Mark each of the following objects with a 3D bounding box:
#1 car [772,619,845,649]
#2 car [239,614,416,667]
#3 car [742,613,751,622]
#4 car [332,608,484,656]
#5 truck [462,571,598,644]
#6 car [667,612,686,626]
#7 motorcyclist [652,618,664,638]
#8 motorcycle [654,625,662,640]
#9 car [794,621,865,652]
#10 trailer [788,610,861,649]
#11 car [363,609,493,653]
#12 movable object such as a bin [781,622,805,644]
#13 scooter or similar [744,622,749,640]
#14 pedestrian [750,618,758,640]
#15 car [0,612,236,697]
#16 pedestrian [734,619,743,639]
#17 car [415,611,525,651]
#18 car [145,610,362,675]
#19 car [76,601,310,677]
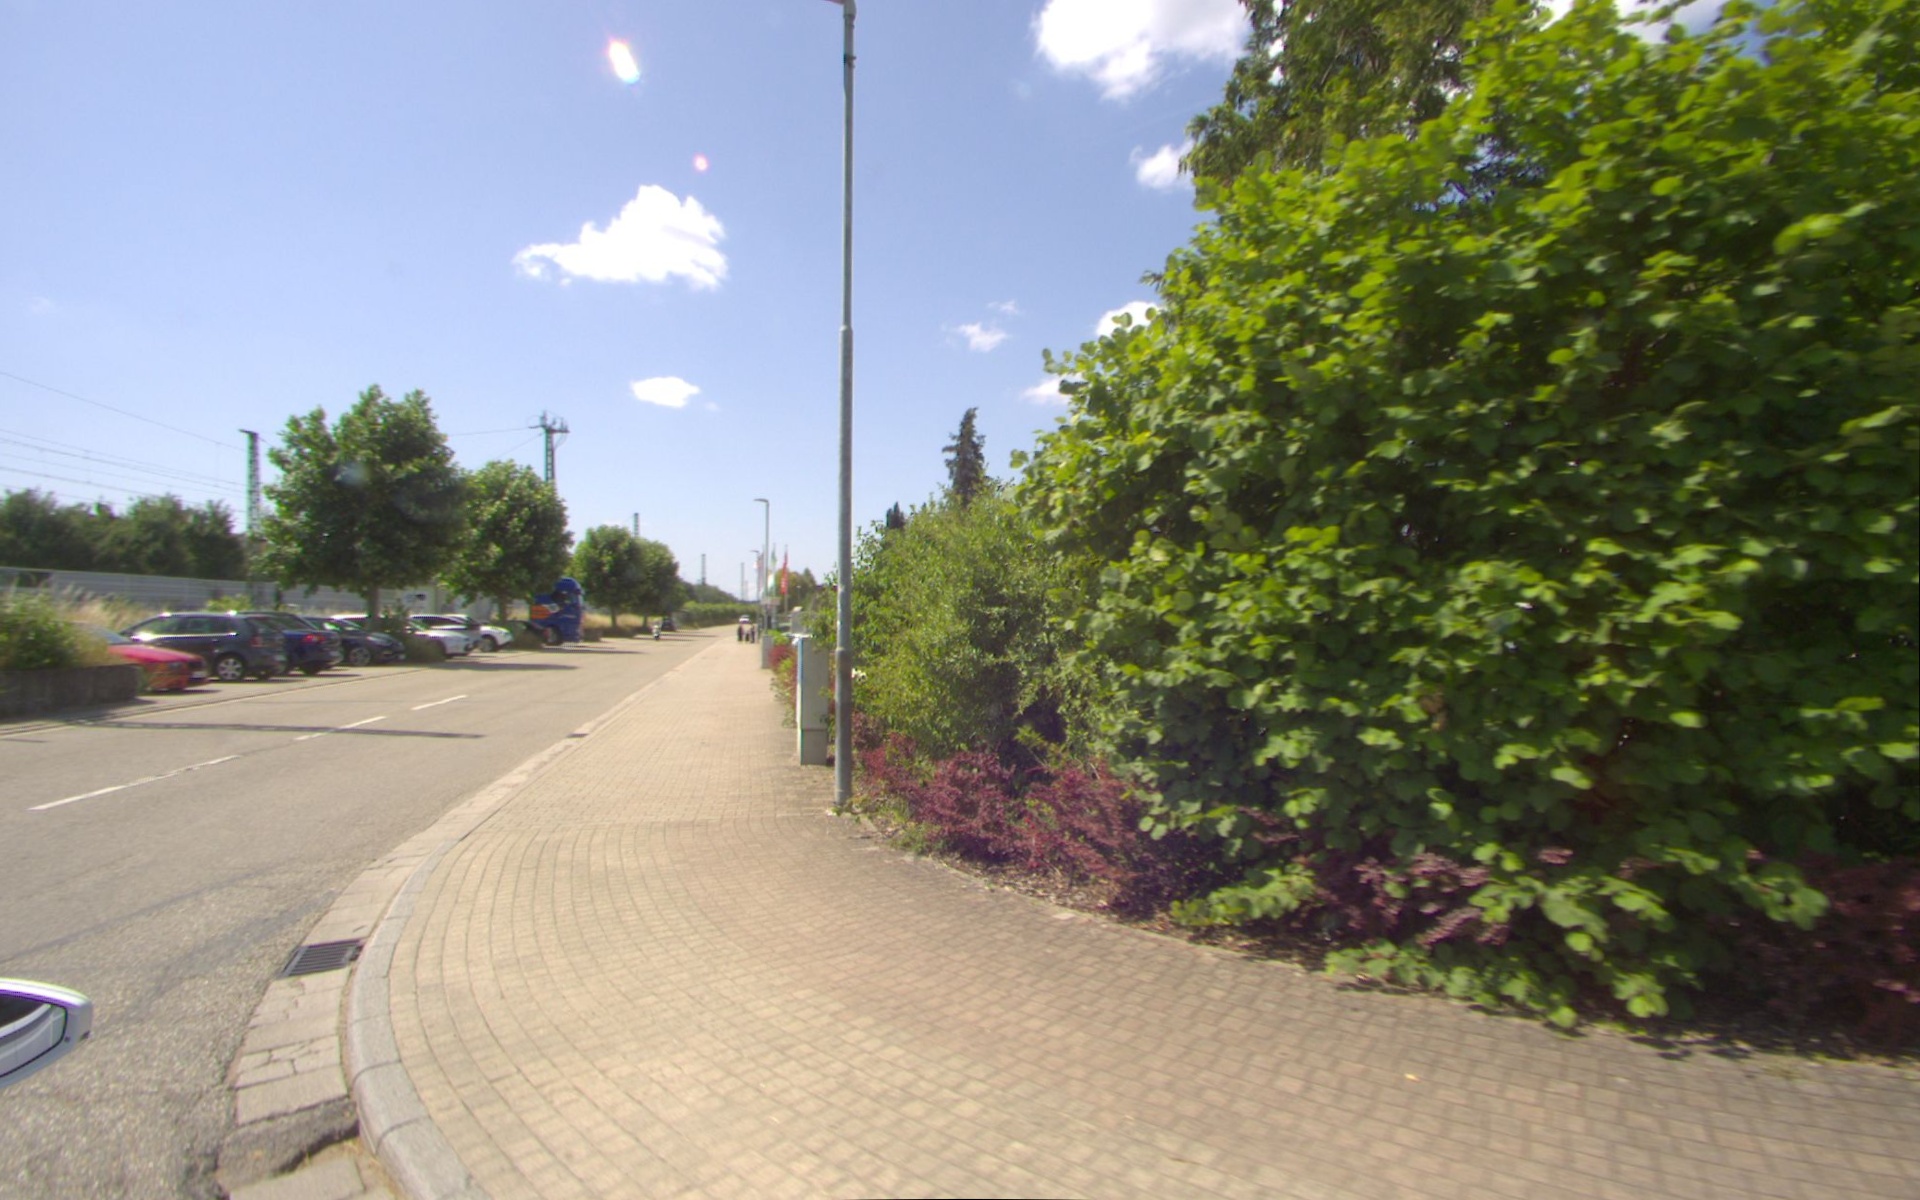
[{"bbox_3d":[-8.962,2.017,59.197,4.148,1.654,1.800,0,-2,-13],"label":"car"},{"bbox_3d":[-18.540,1.163,29.525,4.010,1.492,1.785,0,-1,-11],"label":"car"},{"bbox_3d":[-47.071,3.885,220.980,1.810,1.882,4.480,1,-1,-11],"label":"car"},{"bbox_3d":[-19.319,1.117,35.226,4.272,1.553,1.924,2,0,-12],"label":"car"},{"bbox_3d":[-23.628,0.439,55.316,6.514,3.873,2.661,0,0,-14],"label":"truck"},{"bbox_3d":[-32.135,2.135,113.559,1.715,1.617,3.576,1,-1,-12],"label":"car"},{"bbox_3d":[-23.209,2.146,76.956,0.764,1.529,0.920,1,-1,-13],"label":"motorcyclist"},{"bbox_3d":[-23.182,2.493,76.840,0.456,1.064,1.953,1,-1,-14],"label":"motorcycle"},{"bbox_3d":[-6.222,1.708,47.560,3.300,1.420,1.768,0,0,-10],"label":"car"},{"bbox_3d":[-7.604,1.623,55.988,3.925,2.040,1.999,-1,0,-10],"label":"trailer"},{"bbox_3d":[-19.999,1.171,37.811,3.927,1.568,1.998,1,-1,-14],"label":"car"},{"bbox_3d":[-11.694,2.297,70.303,1.037,1.477,1.258,1,-1,41],"label":"movable object such as a bin"},{"bbox_3d":[-15.044,2.189,70.422,0.328,1.213,0.397,0,-2,-11],"label":"scooter or similar"},{"bbox_3d":[-14.523,2.029,70.460,0.527,1.559,0.510,0,-2,-12],"label":"pedestrian"},{"bbox_3d":[-15.938,0.980,18.311,4.011,1.387,1.672,2,1,-11],"label":"car"},{"bbox_3d":[-15.540,2.051,70.247,0.556,1.423,0.584,0,-2,-12],"label":"pedestrian"},{"bbox_3d":[-20.881,1.316,42.854,3.911,1.639,1.848,1,-1,-15],"label":"car"},{"bbox_3d":[-16.949,1.014,24.197,3.882,1.469,1.786,1,-1,-7],"label":"car"},{"bbox_3d":[-16.551,0.848,21.800,3.611,1.466,1.682,2,-1,-14],"label":"car"}]
